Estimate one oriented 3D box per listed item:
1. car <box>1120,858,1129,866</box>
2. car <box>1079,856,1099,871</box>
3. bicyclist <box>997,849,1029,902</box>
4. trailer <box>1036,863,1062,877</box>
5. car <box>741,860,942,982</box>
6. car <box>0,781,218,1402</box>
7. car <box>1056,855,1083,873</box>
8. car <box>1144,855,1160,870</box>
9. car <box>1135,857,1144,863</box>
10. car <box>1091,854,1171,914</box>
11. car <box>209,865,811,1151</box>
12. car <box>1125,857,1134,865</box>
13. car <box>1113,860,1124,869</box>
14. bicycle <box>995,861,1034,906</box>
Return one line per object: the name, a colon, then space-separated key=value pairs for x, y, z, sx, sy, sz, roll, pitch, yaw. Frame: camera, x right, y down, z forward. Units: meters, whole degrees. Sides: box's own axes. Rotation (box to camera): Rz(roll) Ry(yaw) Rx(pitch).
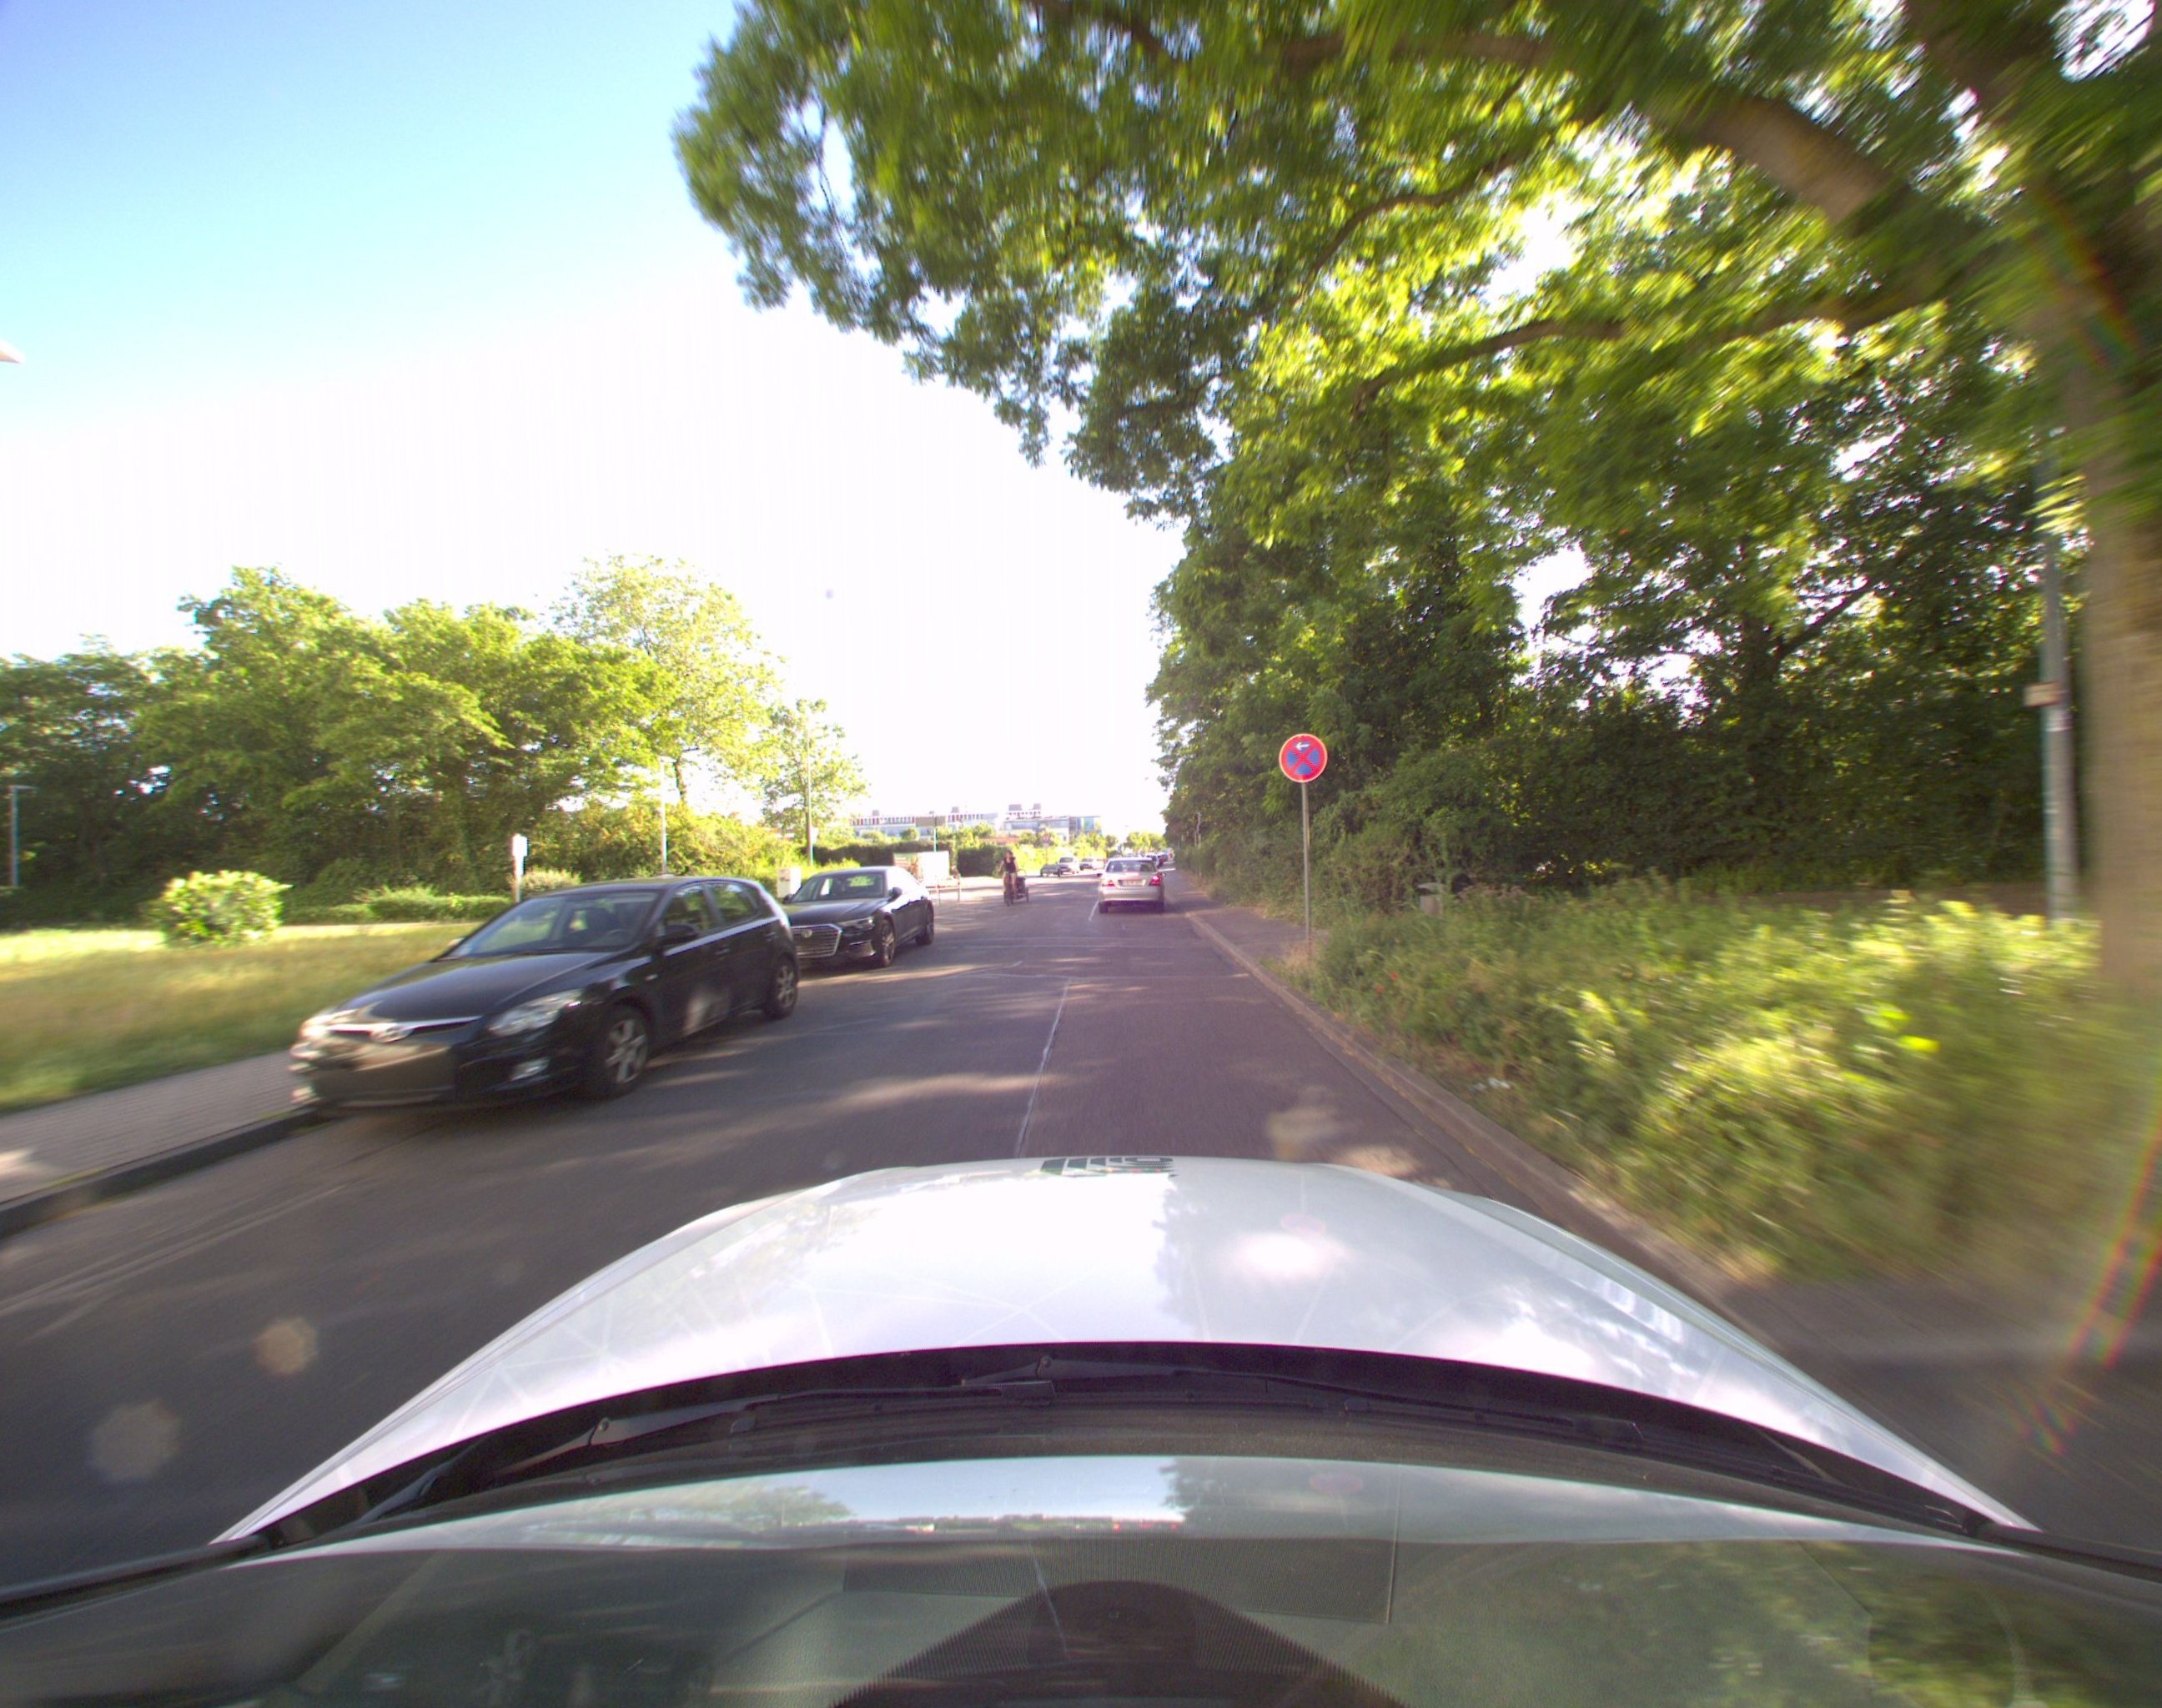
car: x=8.220 y=1.437 z=154.413 sx=1.551 sy=1.495 sz=3.576 roll=0 pitch=0 yaw=6
car: x=0.878 y=1.029 z=89.566 sx=1.635 sy=1.556 sz=4.425 roll=-3 pitch=-1 yaw=6
bicyclist: x=-2.194 y=0.701 z=26.450 sx=0.841 sy=1.658 sz=1.065 roll=-2 pitch=-1 yaw=2
trailer: x=-2.411 y=1.204 z=61.875 sx=1.535 sy=0.953 sz=2.654 roll=-1 pitch=-1 yaw=9
car: x=-3.611 y=0.923 z=13.250 sx=1.721 sy=1.463 sz=4.683 roll=-3 pitch=0 yaw=1
car: x=-4.088 y=0.718 z=0.464 sx=1.833 sy=1.780 sz=4.889 roll=-4 pitch=0 yaw=1
car: x=-0.999 y=0.867 z=71.910 sx=1.634 sy=1.600 sz=4.321 roll=-1 pitch=0 yaw=8
car: x=7.789 y=0.938 z=89.141 sx=1.548 sy=1.538 sz=3.562 roll=0 pitch=0 yaw=7
car: x=14.438 y=1.563 z=200.569 sx=1.845 sy=1.428 sz=4.141 roll=-1 pitch=0 yaw=6
car: x=1.262 y=0.744 z=22.112 sx=1.733 sy=1.453 sz=3.996 roll=-1 pitch=0 yaw=-3
car: x=-3.927 y=0.907 z=6.640 sx=1.832 sy=1.454 sz=4.022 roll=-4 pitch=0 yaw=3
car: x=10.236 y=1.457 z=171.371 sx=1.551 sy=1.495 sz=3.765 roll=-3 pitch=-1 yaw=6
car: x=6.356 y=1.723 z=136.283 sx=1.551 sy=1.495 sz=3.576 roll=-3 pitch=-1 yaw=6
bicycle: x=-2.157 y=0.928 z=27.059 sx=0.847 sy=1.370 sz=3.222 roll=-2 pitch=-1 yaw=3
